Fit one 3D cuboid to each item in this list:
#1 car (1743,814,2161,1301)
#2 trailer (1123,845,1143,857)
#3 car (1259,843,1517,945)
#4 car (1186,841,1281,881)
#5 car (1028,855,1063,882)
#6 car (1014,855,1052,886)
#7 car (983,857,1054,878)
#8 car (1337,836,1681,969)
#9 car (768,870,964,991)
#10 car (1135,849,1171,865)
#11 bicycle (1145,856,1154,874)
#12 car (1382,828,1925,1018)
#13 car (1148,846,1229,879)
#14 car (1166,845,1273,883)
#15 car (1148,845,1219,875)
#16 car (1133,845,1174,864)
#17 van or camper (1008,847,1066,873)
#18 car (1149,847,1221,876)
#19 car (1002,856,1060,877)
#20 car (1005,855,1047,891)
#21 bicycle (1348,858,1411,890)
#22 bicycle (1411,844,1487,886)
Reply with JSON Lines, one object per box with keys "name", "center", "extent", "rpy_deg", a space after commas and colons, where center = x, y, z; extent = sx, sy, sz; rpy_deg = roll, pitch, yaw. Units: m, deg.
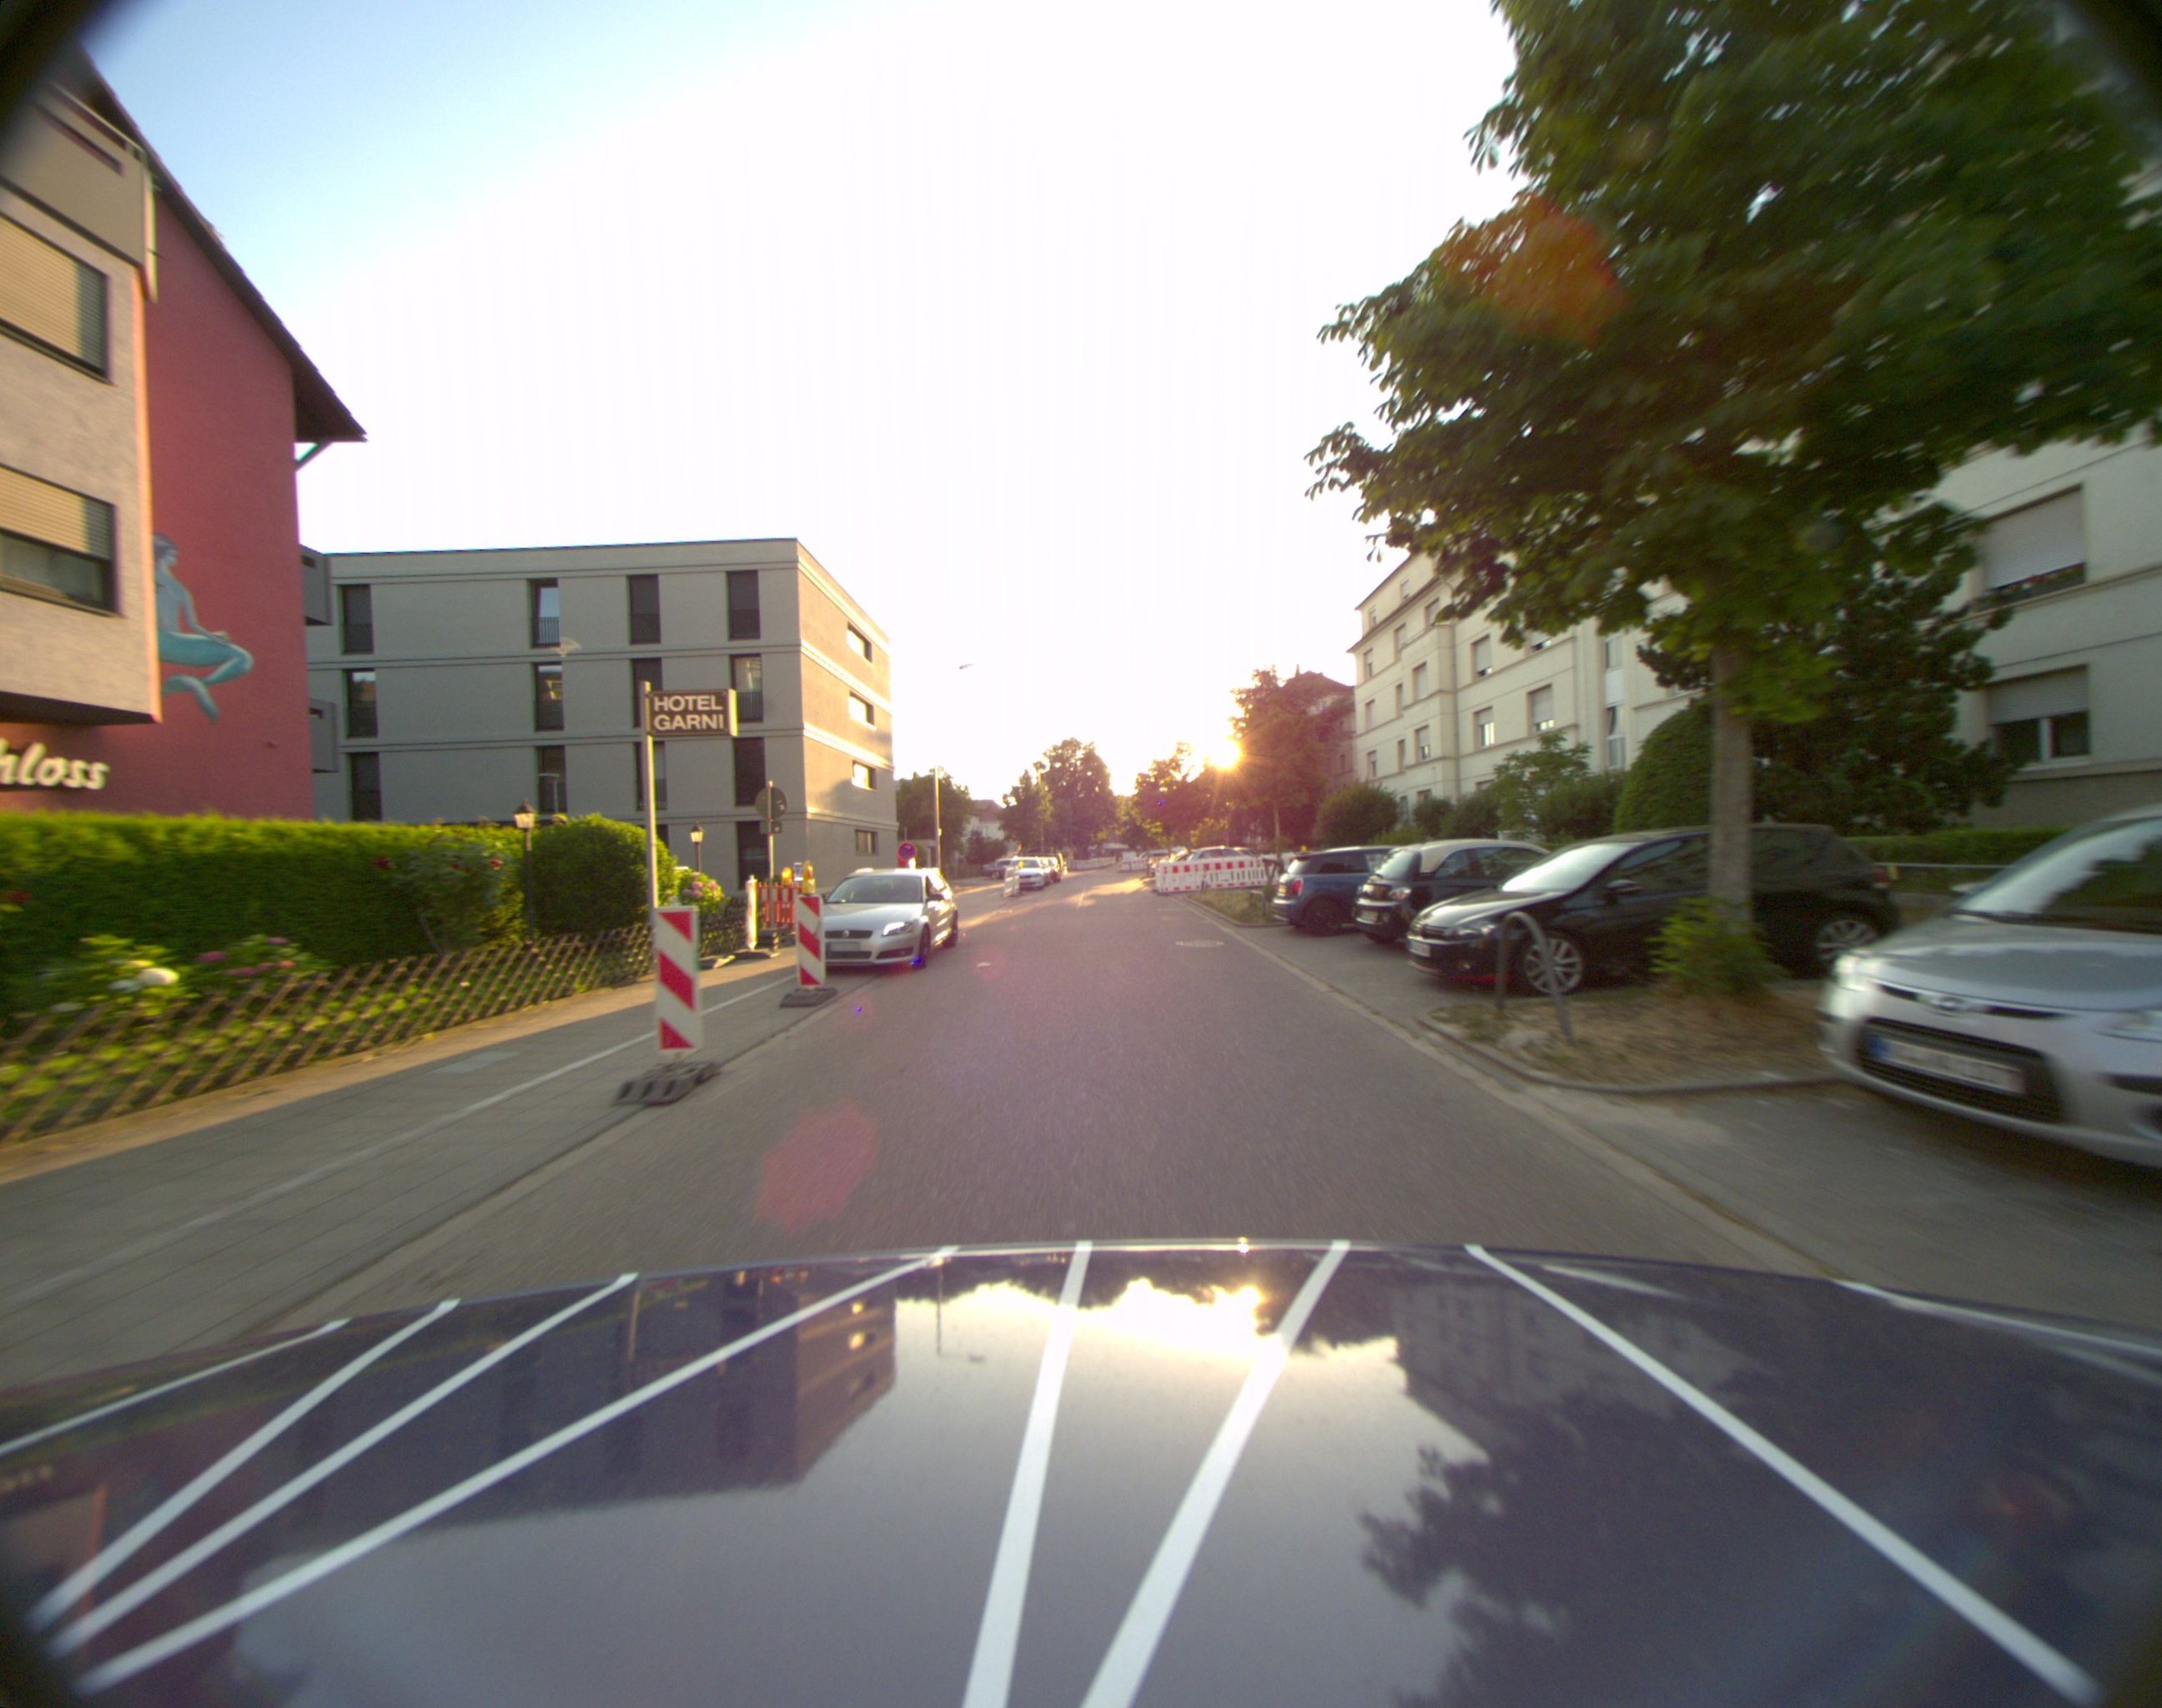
{"name": "car", "center": [5.285, 0.612, 3.238], "extent": [3.484, 1.557, 1.727], "rpy_deg": [-3, 1, -4]}
{"name": "trailer", "center": [10.529, -0.606, 153.809], "extent": [3.682, 2.056, 2.002], "rpy_deg": [-3, 0, 15]}
{"name": "car", "center": [5.114, 0.633, 13.038], "extent": [3.686, 1.437, 1.728], "rpy_deg": [-3, 1, 2]}
{"name": "car", "center": [6.604, 0.312, 33.087], "extent": [3.709, 1.475, 1.728], "rpy_deg": [-4, 0, -1]}
{"name": "car", "center": [-2.082, 0.828, 45.247], "extent": [1.745, 1.461, 3.759], "rpy_deg": [-2, 0, 2]}
{"name": "car", "center": [-2.498, 0.825, 40.197], "extent": [1.802, 1.461, 3.843], "rpy_deg": [-2, 0, -2]}
{"name": "car", "center": [-4.375, 0.959, 53.914], "extent": [4.829, 1.390, 1.770], "rpy_deg": [-1, 0, 2]}
{"name": "car", "center": [5.672, 0.609, 10.418], "extent": [3.686, 1.475, 1.728], "rpy_deg": [-3, 1, 0]}
{"name": "car", "center": [-3.083, 1.030, 11.829], "extent": [1.780, 1.388, 4.107], "rpy_deg": [-2, 0, 1]}
{"name": "car", "center": [8.431, 0.297, 88.658], "extent": [4.129, 1.673, 2.001], "rpy_deg": [-2, 0, 6]}
{"name": "bicycle", "center": [4.535, 0.721, 50.272], "extent": [0.448, 1.089, 1.629], "rpy_deg": [-1, 1, 1]}
{"name": "car", "center": [5.345, 0.604, 7.544], "extent": [3.986, 1.480, 1.728], "rpy_deg": [-3, 1, 3]}
{"name": "car", "center": [5.619, 0.438, 40.124], "extent": [4.041, 1.475, 1.728], "rpy_deg": [-4, 0, 3]}
{"name": "car", "center": [6.432, 0.452, 35.528], "extent": [4.521, 1.475, 1.727], "rpy_deg": [-4, 0, -7]}
{"name": "car", "center": [6.079, 0.357, 45.362], "extent": [3.996, 1.533, 1.728], "rpy_deg": [-4, 0, 3]}
{"name": "car", "center": [8.658, 0.094, 91.144], "extent": [4.785, 2.058, 2.001], "rpy_deg": [-2, 0, 6]}
{"name": "van or camper", "center": [-3.635, 0.509, 63.680], "extent": [4.660, 1.942, 2.094], "rpy_deg": [-2, 0, -2]}
{"name": "car", "center": [5.861, 0.441, 43.317], "extent": [3.851, 1.376, 1.607], "rpy_deg": [-4, 0, 2]}
{"name": "car", "center": [-3.710, 0.932, 56.801], "extent": [4.064, 1.492, 1.771], "rpy_deg": [-1, 0, 4]}
{"name": "car", "center": [-2.455, 0.803, 34.452], "extent": [1.618, 1.461, 3.996], "rpy_deg": [-2, 0, -1]}
{"name": "bicycle", "center": [10.071, 0.666, 25.623], "extent": [1.925, 0.986, 0.360], "rpy_deg": [-3, 1, 2]}
{"name": "bicycle", "center": [11.366, 0.324, 23.487], "extent": [2.033, 1.179, 0.540], "rpy_deg": [-3, 1, 2]}
